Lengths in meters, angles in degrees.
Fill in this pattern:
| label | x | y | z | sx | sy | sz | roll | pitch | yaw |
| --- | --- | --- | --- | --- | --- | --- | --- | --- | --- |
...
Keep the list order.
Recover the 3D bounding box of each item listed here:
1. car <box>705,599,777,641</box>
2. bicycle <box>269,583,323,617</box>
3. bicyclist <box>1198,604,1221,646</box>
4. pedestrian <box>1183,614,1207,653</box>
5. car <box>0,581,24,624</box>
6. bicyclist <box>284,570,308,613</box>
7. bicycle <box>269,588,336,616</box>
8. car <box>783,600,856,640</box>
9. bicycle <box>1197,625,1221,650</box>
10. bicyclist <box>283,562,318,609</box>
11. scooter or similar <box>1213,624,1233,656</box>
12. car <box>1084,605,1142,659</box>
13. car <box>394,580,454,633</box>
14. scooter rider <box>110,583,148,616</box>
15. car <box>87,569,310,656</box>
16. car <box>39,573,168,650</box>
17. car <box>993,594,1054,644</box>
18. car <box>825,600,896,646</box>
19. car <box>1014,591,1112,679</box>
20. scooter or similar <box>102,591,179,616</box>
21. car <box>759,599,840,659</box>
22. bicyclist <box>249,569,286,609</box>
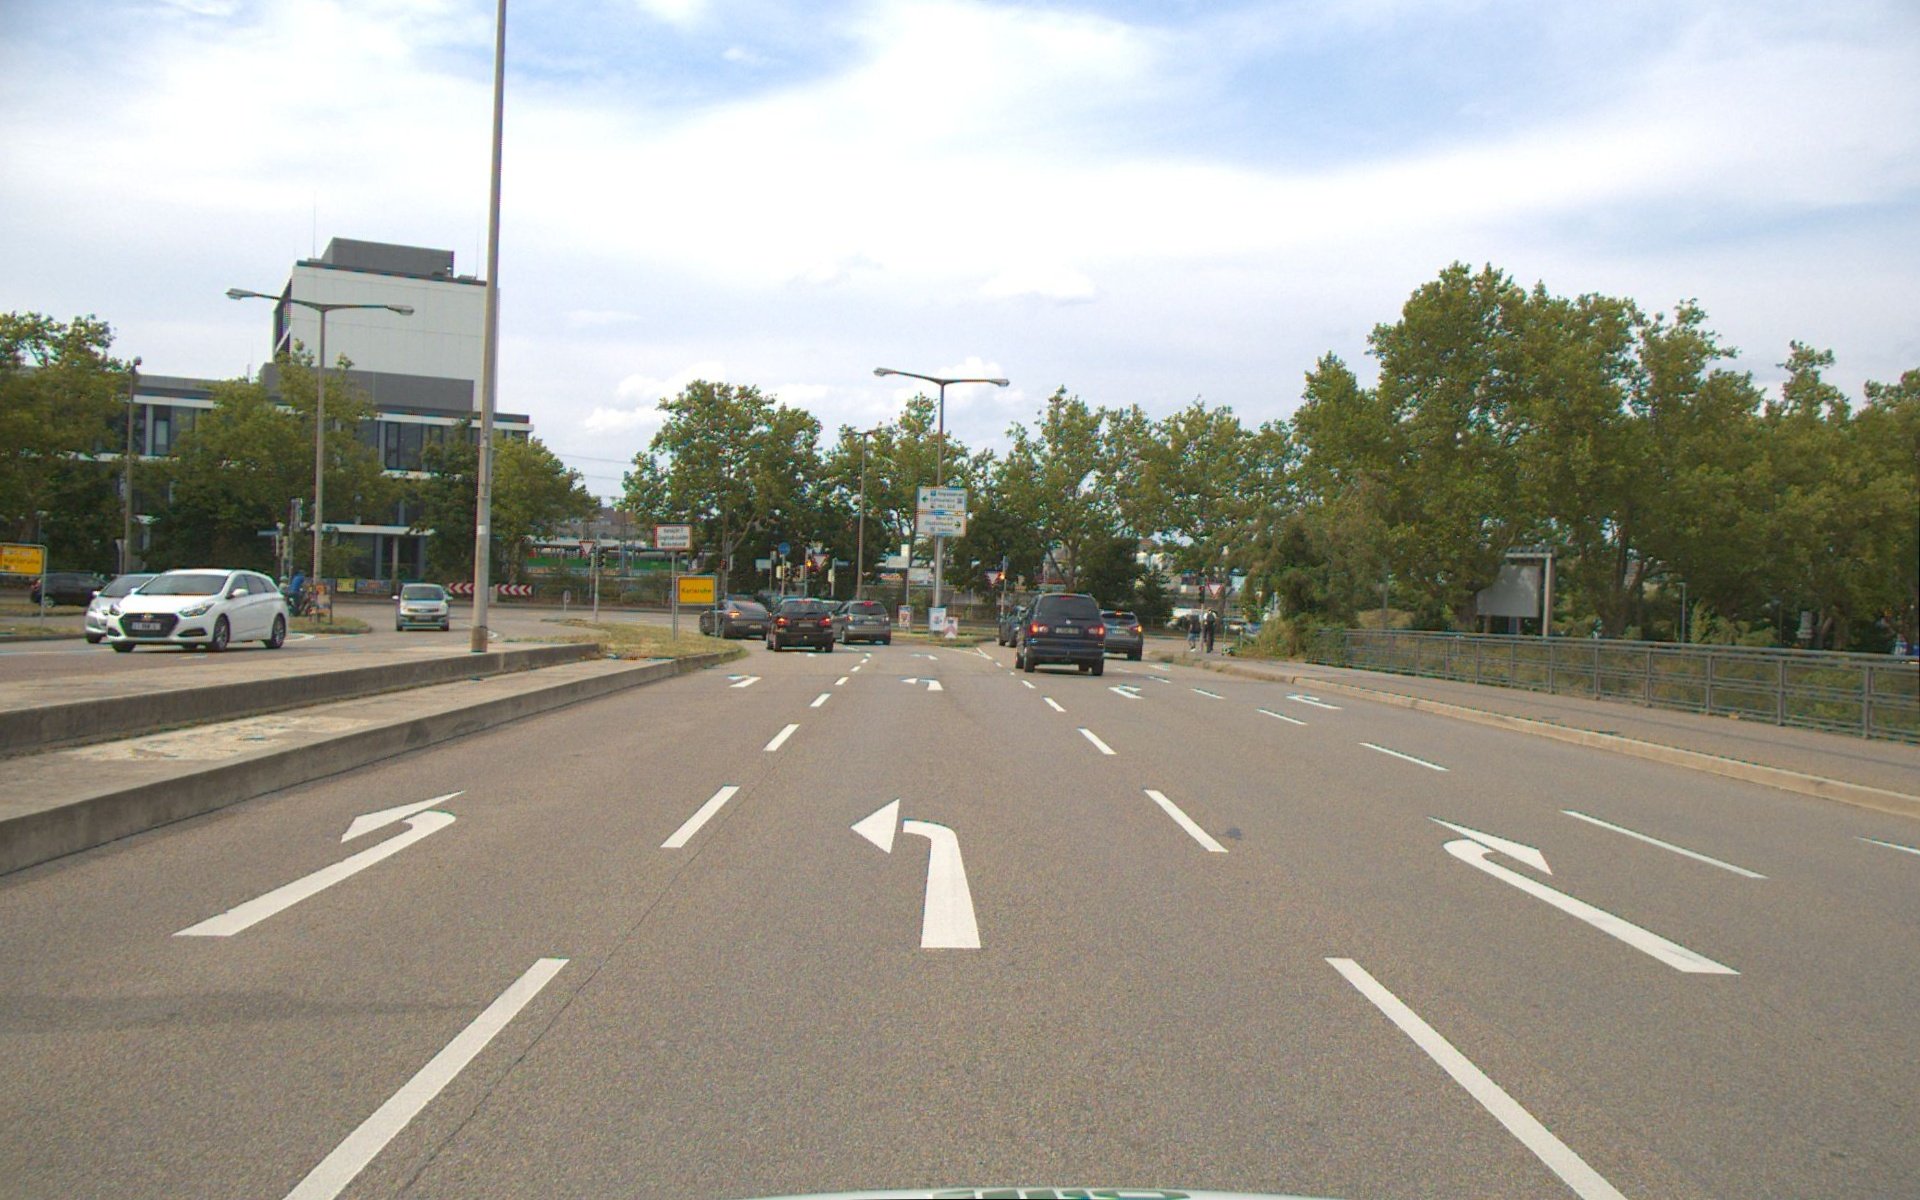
| label | x | y | z | sx | sy | sz | roll | pitch | yaw |
| --- | --- | --- | --- | --- | --- | --- | --- | --- | --- |
| car | -8.261 | 0.725 | 62.062 | 1.791 | 1.439 | 4.751 | 2 | 0 | -18 |
| bicycle | -25.499 | 0.008 | 63.542 | 1.877 | 1.231 | 0.637 | 2 | 0 | -26 |
| bicyclist | 10.460 | 1.039 | 69.328 | 0.793 | 1.726 | 1.116 | 1 | 0 | 14 |
| pedestrian | 10.818 | 1.521 | 76.113 | 1.025 | 1.740 | 0.854 | 2 | 0 | 9 |
| car | -33.454 | 0.080 | 55.133 | 3.782 | 1.435 | 1.748 | 0 | -1 | 16 |
| bicyclist | -25.494 | -0.337 | 63.525 | 0.770 | 1.608 | 0.649 | 2 | 0 | -26 |
| bicycle | -24.075 | 0.076 | 60.612 | 0.794 | 0.969 | 2.230 | 1 | 0 | 32 |
| car | -5.659 | 0.768 | 66.413 | 1.718 | 1.508 | 4.052 | 2 | 0 | -23 |
| bicycle | 10.440 | 1.554 | 69.282 | 0.792 | 0.969 | 2.237 | 1 | 0 | 14 |
| bicyclist | -24.126 | -0.527 | 60.516 | 0.794 | 1.685 | 0.881 | 1 | 0 | 32 |
| scooter or similar | 10.121 | 1.532 | 63.585 | 0.389 | 1.204 | 1.278 | 1 | -1 | -8 |
| car | 5.159 | 1.086 | 56.109 | 1.714 | 1.671 | 4.139 | 3 | -1 | 3 |
| car | -17.893 | 0.228 | 55.332 | 1.713 | 1.688 | 4.061 | 1 | -1 | -16 |
| scooter rider | -29.696 | -0.025 | 59.104 | 0.792 | 1.157 | 0.913 | 2 | 0 | 36 |
| car | -13.789 | 0.193 | 30.317 | 1.880 | 1.440 | 4.880 | 0 | 0 | -1 |
| car | -18.674 | 0.209 | 36.259 | 1.891 | 1.553 | 4.852 | 0 | 0 | -20 |
| car | 2.184 | 0.670 | 57.992 | 1.657 | 1.613 | 4.153 | 4 | -1 | -3 |
| car | -3.630 | 0.797 | 59.842 | 1.712 | 1.573 | 4.064 | 2 | 0 | -16 |
| car | 2.248 | 0.769 | 36.988 | 1.715 | 1.755 | 4.136 | 4 | -1 | -2 |
| scooter or similar | -29.439 | 0.136 | 59.467 | 0.792 | 0.864 | 2.377 | 2 | 0 | 35 |
| car | -4.877 | 0.841 | 49.884 | 1.728 | 1.602 | 4.020 | 2 | 1 | -16 |
| bicyclist | -25.875 | -0.407 | 61.796 | 0.635 | 1.461 | 1.112 | 2 | 1 | 39 |
